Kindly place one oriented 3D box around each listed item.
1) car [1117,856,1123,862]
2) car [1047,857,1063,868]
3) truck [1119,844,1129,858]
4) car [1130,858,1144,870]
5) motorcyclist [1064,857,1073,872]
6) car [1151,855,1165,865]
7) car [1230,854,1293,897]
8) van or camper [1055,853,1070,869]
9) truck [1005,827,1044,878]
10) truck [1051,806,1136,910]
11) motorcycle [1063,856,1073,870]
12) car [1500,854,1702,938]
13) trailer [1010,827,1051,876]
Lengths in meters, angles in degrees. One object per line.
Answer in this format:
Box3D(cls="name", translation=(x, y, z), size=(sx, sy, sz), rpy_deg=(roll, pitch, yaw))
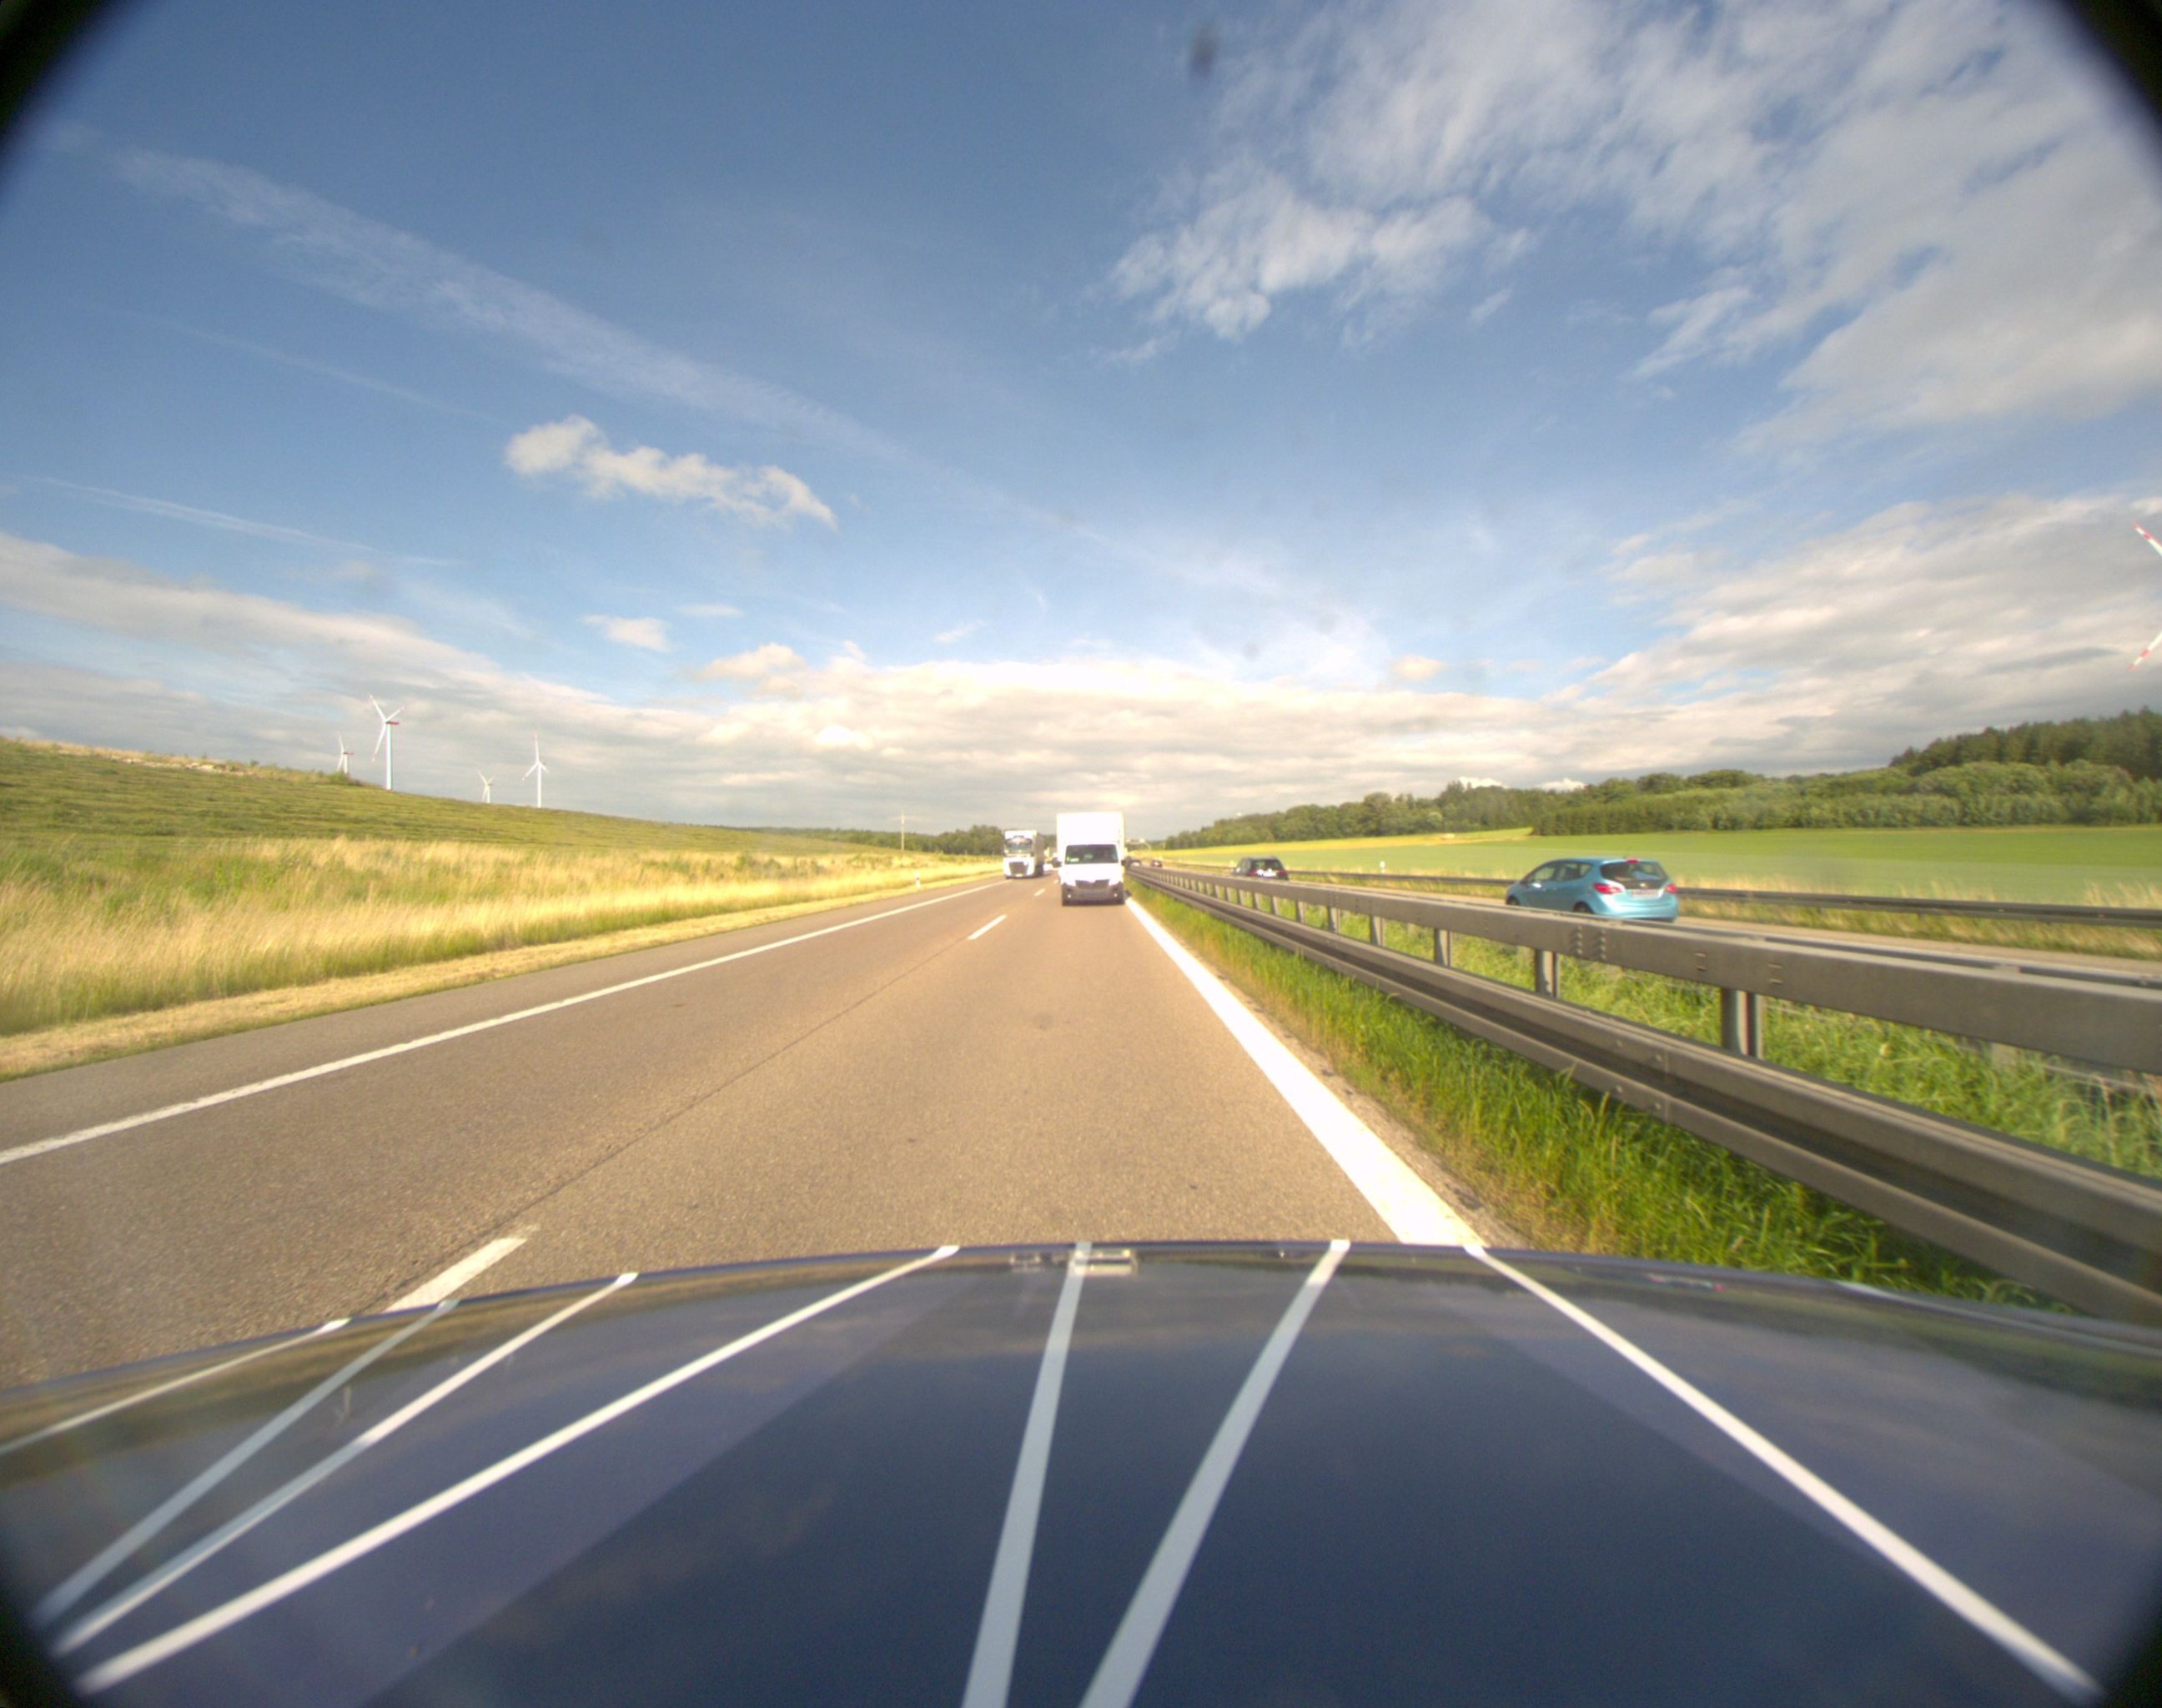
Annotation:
Box3D(cls="car", translation=(11.173, 1.414, 216.908), size=(1.619, 1.512, 3.999), rpy_deg=(-2, 1, 0))
Box3D(cls="car", translation=(-3.518, 1.155, 102.549), size=(1.871, 1.409, 4.461), rpy_deg=(-2, 1, 1))
Box3D(cls="truck", translation=(15.082, -1.115, 269.403), size=(2.887, 4.607, 13.422), rpy_deg=(-2, 1, 1))
Box3D(cls="car", translation=(8.379, 1.501, 113.791), size=(1.754, 1.594, 4.265), rpy_deg=(-2, 1, 0))
Box3D(cls="motorcyclist", translation=(-1.395, 1.142, 82.086), size=(0.898, 1.608, 1.022), rpy_deg=(-2, 1, 0))
Box3D(cls="car", translation=(12.611, 0.990, 124.469), size=(1.754, 1.470, 4.479), rpy_deg=(-2, 1, 0))
Box3D(cls="car", translation=(8.116, 0.903, 34.487), size=(1.827, 1.759, 4.363), rpy_deg=(-2, 1, 1))
Box3D(cls="van or camper", translation=(-3.043, 1.125, 126.701), size=(2.102, 2.530, 6.412), rpy_deg=(-2, 1, 1))
Box3D(cls="truck", translation=(-4.718, -0.121, 64.157), size=(2.607, 4.017, 6.119), rpy_deg=(-2, 0, 1))
Box3D(cls="truck", translation=(0.388, 0.150, 28.943), size=(2.502, 3.140, 11.163), rpy_deg=(-2, 0, 0))
Box3D(cls="motorcycle", translation=(-1.393, 1.011, 82.165), size=(0.898, 1.447, 2.269), rpy_deg=(-2, 1, 1))
Box3D(cls="car", translation=(11.383, 0.835, 17.044), size=(1.739, 1.579, 4.117), rpy_deg=(-2, 1, 1))
Box3D(cls="trailer", translation=(-4.607, -0.146, 71.687), size=(2.623, 4.016, 13.700), rpy_deg=(-2, -1, 1))
